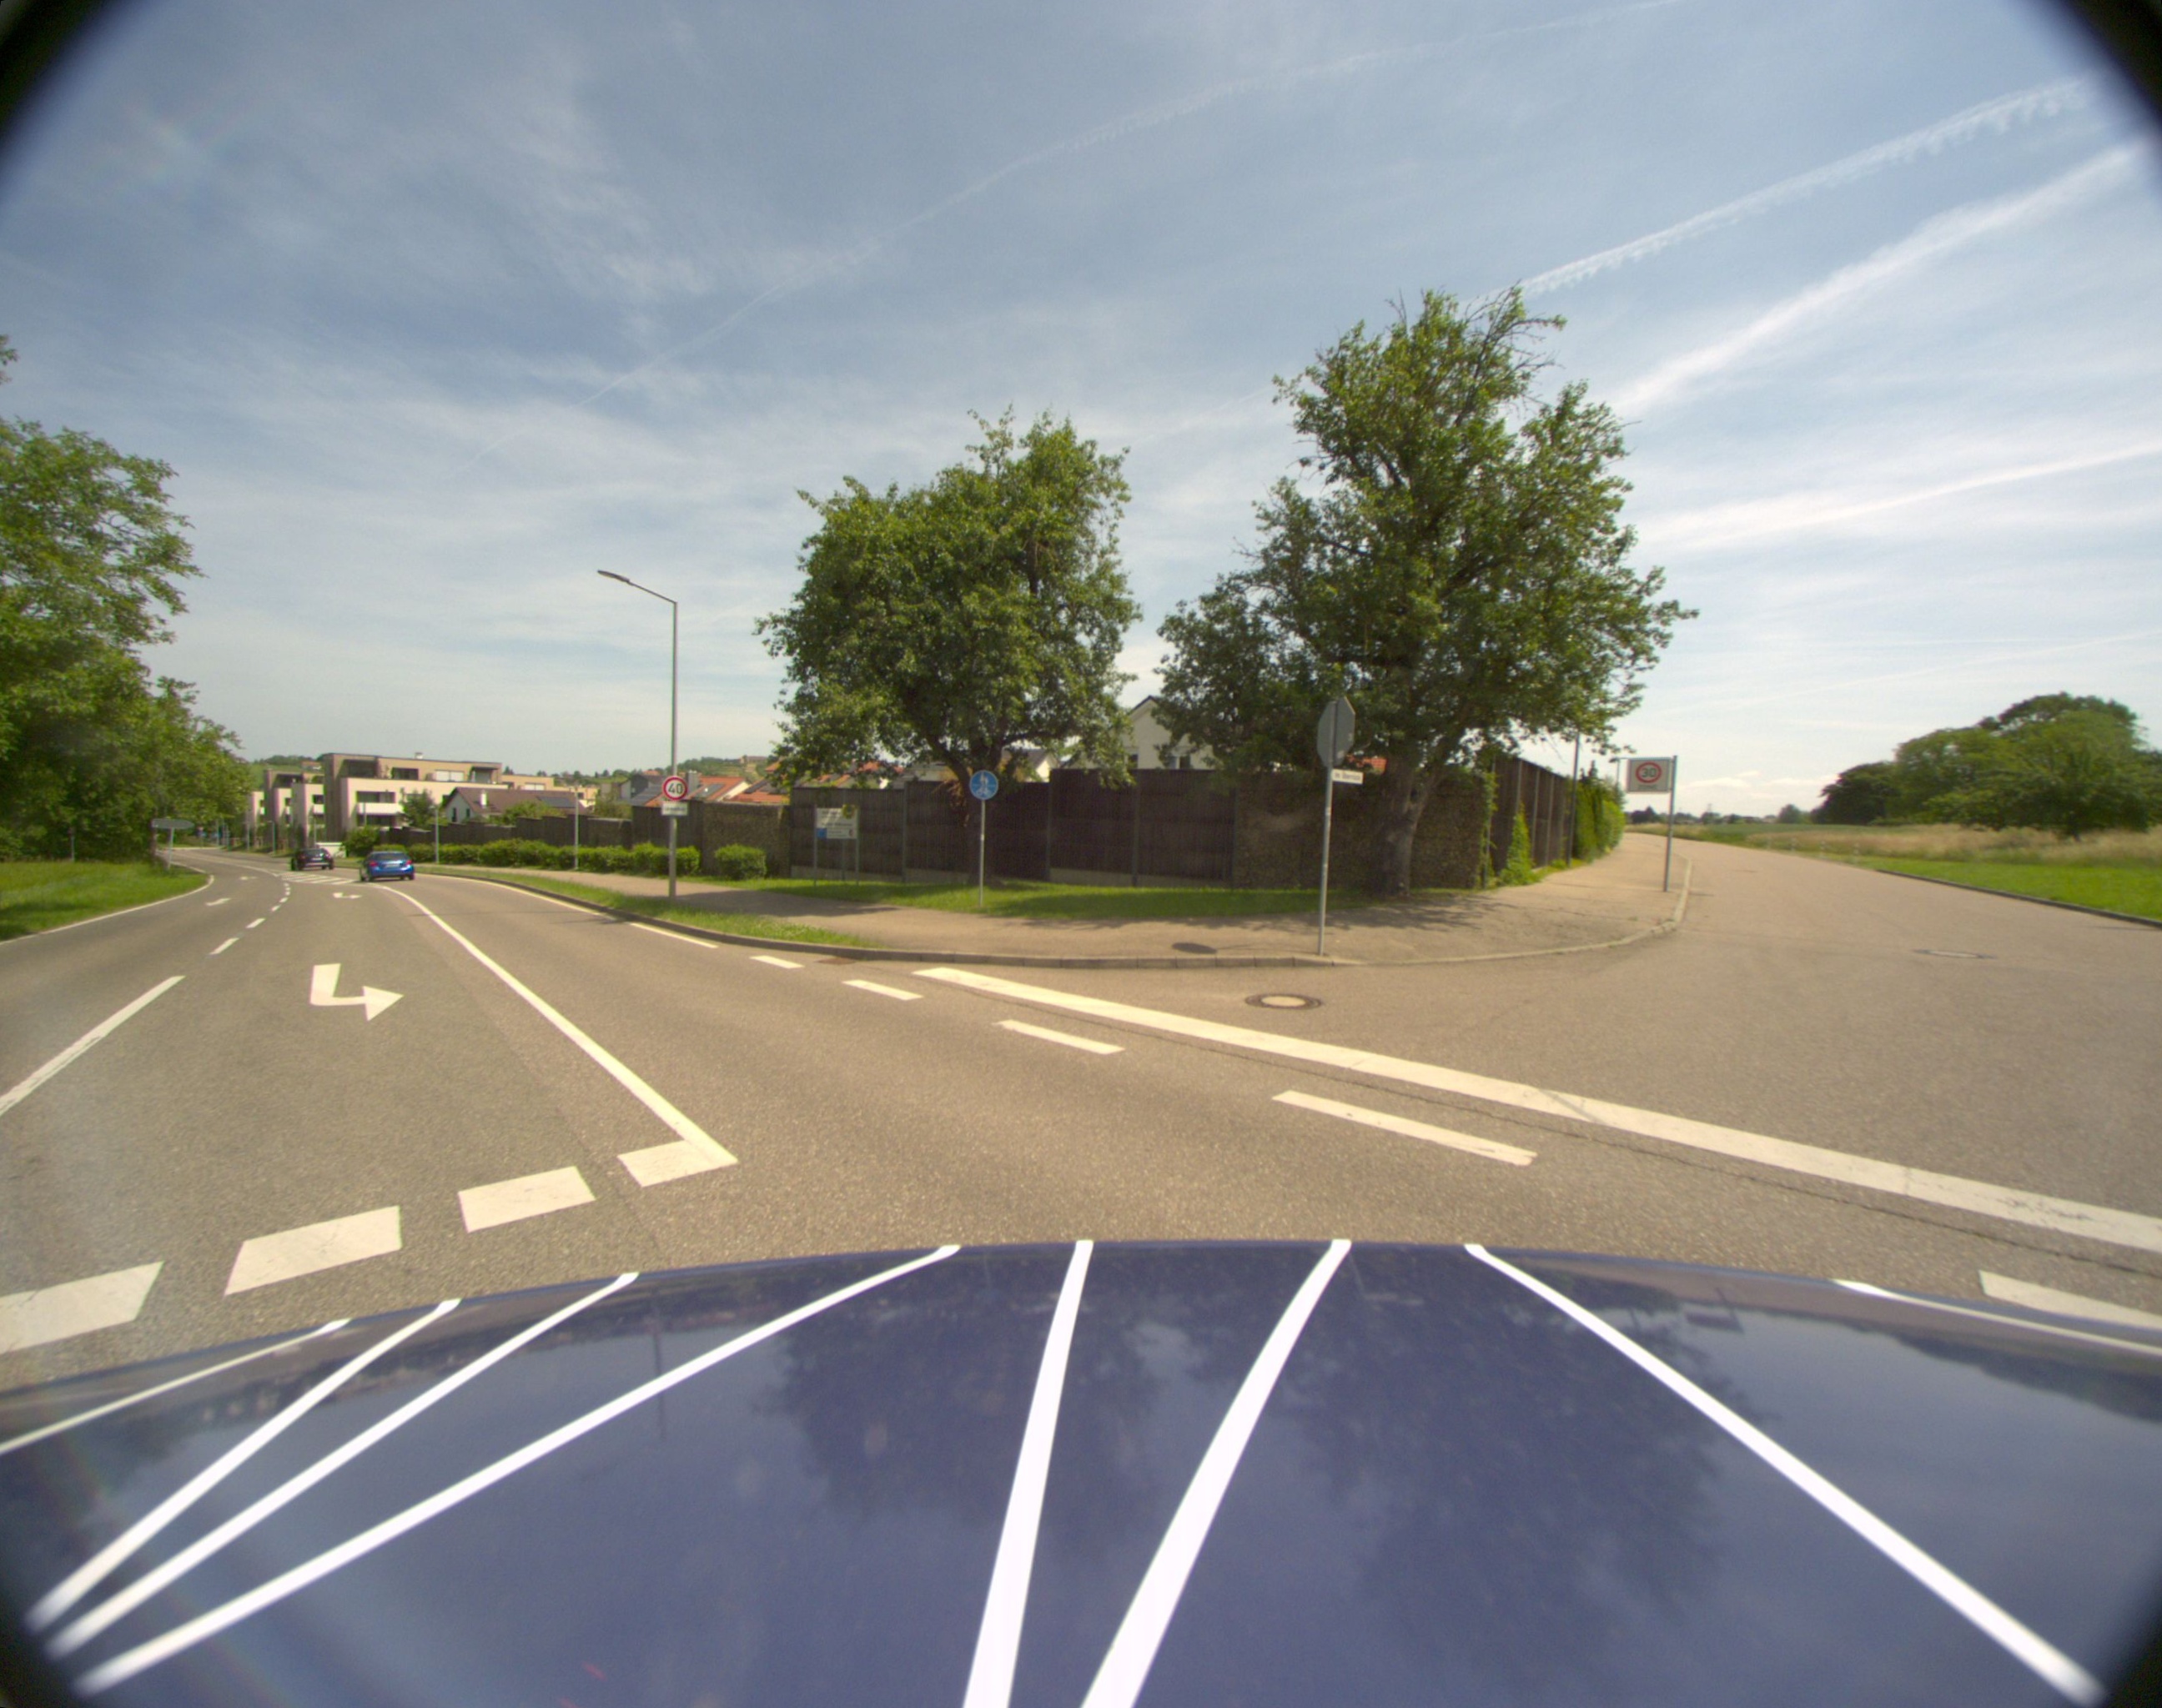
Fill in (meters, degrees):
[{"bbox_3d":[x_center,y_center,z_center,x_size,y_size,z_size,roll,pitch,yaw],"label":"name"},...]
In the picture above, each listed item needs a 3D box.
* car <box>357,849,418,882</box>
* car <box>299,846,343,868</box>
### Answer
[{"bbox_3d":[-35.072,0.570,38.384,3.837,1.484,1.616,0,5,39],"label":"car"},{"bbox_3d":[-56.951,0.196,56.909,3.988,1.572,1.834,0,1,38],"label":"car"}]
